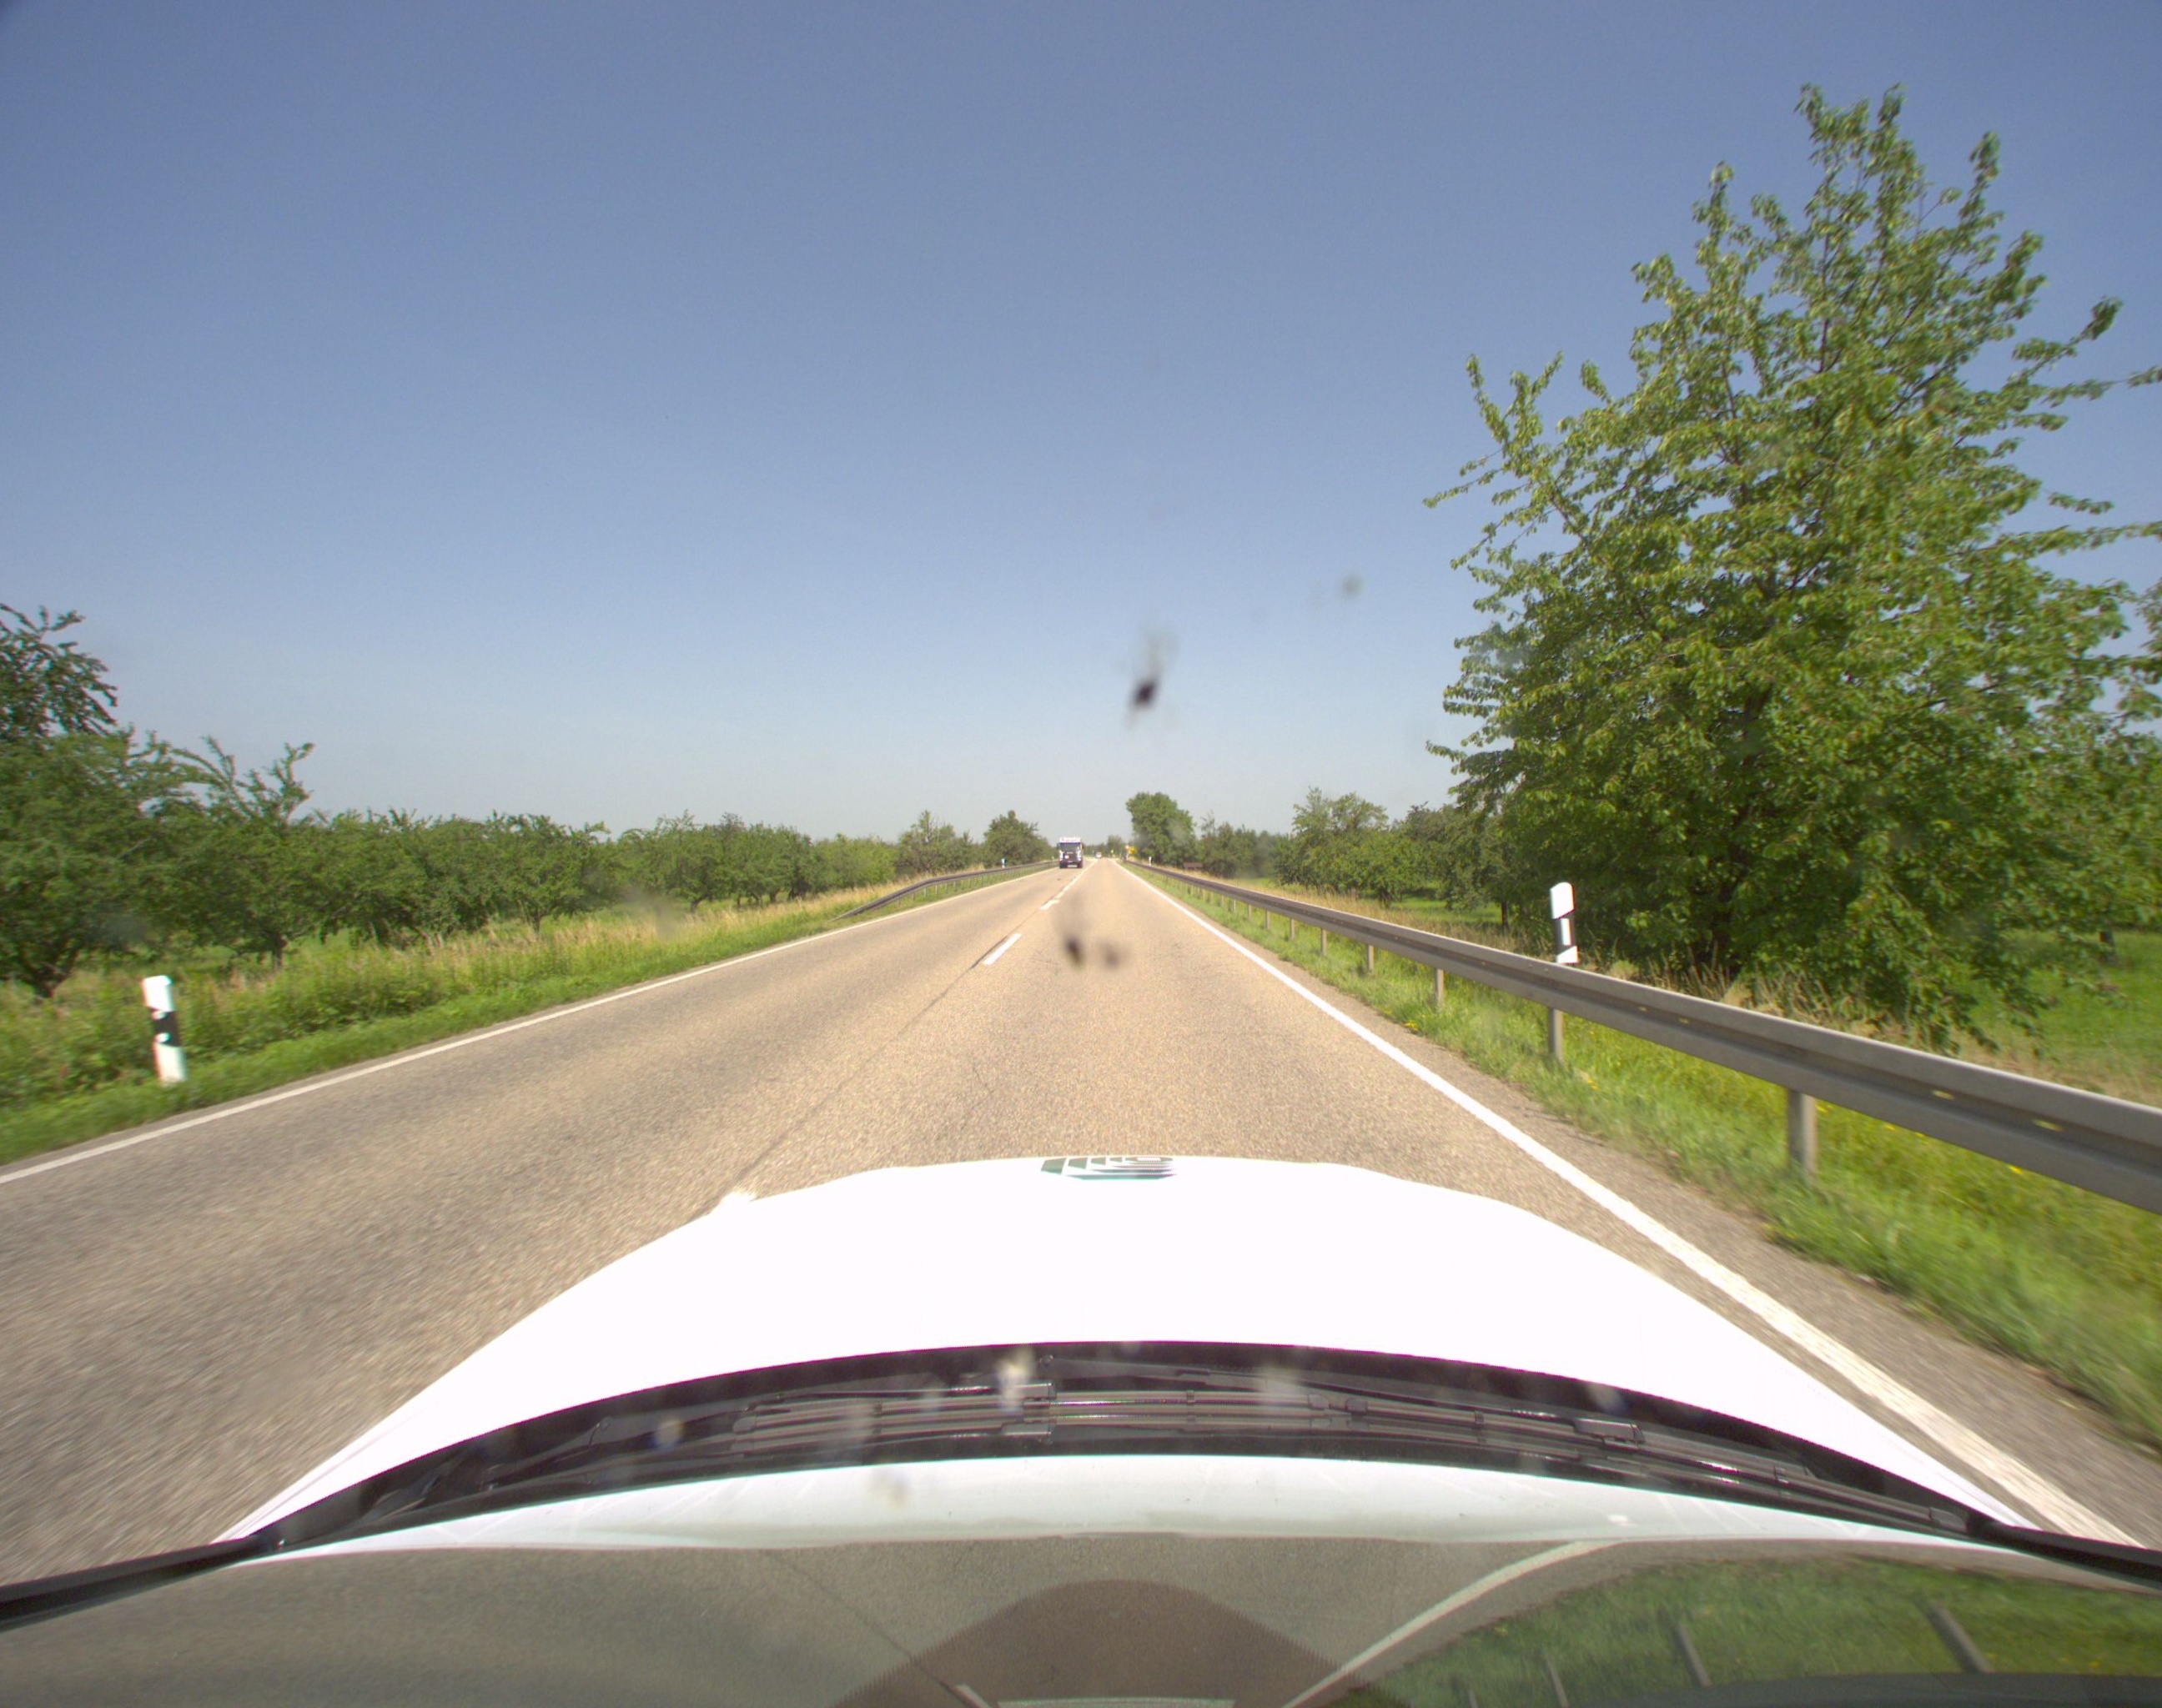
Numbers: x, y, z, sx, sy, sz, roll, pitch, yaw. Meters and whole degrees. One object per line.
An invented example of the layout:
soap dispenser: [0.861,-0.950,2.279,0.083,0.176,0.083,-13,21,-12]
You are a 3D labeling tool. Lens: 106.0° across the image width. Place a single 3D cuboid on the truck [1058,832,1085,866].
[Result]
truck: [-1.025,-0.532,94.247,2.718,3.672,9.385,-1,-1,1]
